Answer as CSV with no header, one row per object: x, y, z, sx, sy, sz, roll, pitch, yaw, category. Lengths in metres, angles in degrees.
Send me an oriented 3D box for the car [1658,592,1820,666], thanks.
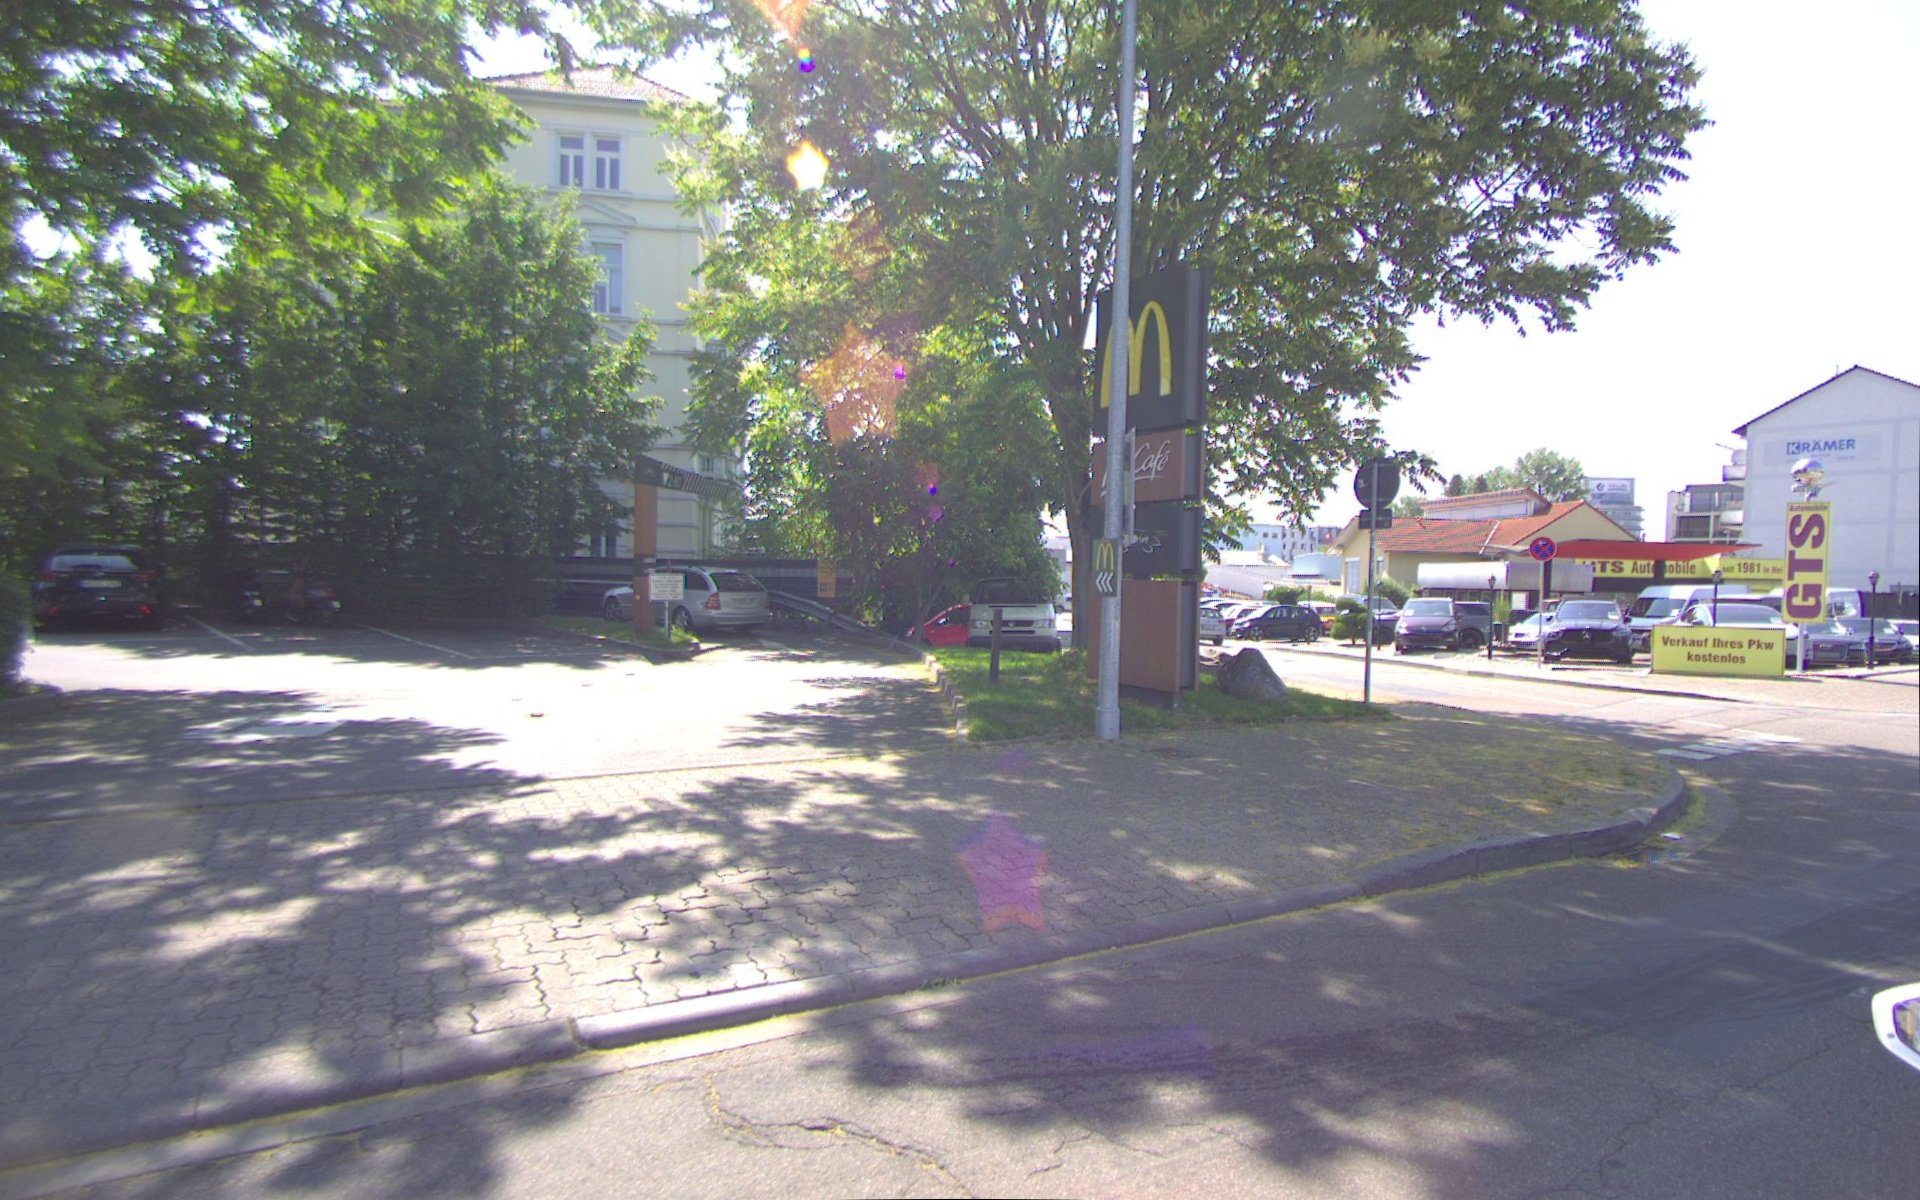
19.893,0.790,25.910,1.943,1.729,4.665,1,-3,20,car

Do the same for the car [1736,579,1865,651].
32.382,0.607,38.654,5.662,2.463,2.231,2,3,-35,car

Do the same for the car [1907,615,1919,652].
39.725,1.361,40.143,1.641,1.492,3.995,-1,-1,26,car

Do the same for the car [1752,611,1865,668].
23.922,1.078,28.460,1.810,1.492,3.991,-1,-1,31,car

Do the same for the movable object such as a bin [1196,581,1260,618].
22.307,-0.063,83.784,4.740,2.946,1.999,1,0,-3,movable object such as a bin

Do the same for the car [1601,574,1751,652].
27.795,0.518,38.934,6.077,2.794,2.267,2,0,-29,car

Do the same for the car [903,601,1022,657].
0.043,0.824,29.507,3.341,1.485,1.693,-1,0,-3,car

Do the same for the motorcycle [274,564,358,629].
-12.499,-0.087,19.468,2.147,1.147,0.568,4,3,35,motorcycle

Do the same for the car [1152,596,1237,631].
12.828,0.735,54.968,4.096,1.773,1.889,1,0,-9,car

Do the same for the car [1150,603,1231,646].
8.903,0.920,39.174,1.651,1.513,4.602,1,0,-6,car

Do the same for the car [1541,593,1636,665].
16.977,0.786,27.187,2.014,1.730,4.305,1,-1,32,car

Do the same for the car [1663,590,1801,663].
27.099,0.943,35.232,4.770,2.381,2.234,3,0,-32,car

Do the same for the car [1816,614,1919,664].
28.634,1.191,31.696,1.810,1.492,3.991,-1,-1,31,car

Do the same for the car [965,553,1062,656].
1.153,0.166,21.566,1.855,1.945,4.527,-1,-2,3,car

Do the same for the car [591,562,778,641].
-5.985,-0.048,21.555,4.318,1.423,1.706,4,4,39,car

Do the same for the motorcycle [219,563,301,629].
-13.376,-0.087,19.177,2.147,1.131,0.568,4,3,35,motorcycle

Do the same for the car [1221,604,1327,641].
13.876,0.984,44.537,4.058,1.509,1.867,1,0,-9,car

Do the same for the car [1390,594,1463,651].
14.929,0.686,32.048,1.778,1.678,4.307,1,0,29,car

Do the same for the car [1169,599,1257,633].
13.185,0.820,52.492,4.050,1.624,1.867,1,0,-9,car

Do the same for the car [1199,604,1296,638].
13.600,0.982,47.594,3.985,1.509,1.795,1,0,-9,car

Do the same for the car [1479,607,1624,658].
20.379,1.099,34.599,4.619,1.596,1.904,1,1,-23,car

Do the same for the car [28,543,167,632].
-15.645,-0.278,18.324,1.756,1.406,4.047,1,2,-40,car

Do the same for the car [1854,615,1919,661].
32.803,1.292,34.853,1.753,1.492,3.994,-1,-2,29,car

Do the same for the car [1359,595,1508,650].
17.710,0.809,37.852,4.794,1.867,2.163,2,0,17,car

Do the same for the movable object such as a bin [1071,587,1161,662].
3.389,0.526,22.013,1.429,1.547,1.773,-1,0,-10,movable object such as a bin

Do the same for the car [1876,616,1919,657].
36.089,1.339,37.459,1.640,1.492,3.997,-1,-1,24,car
